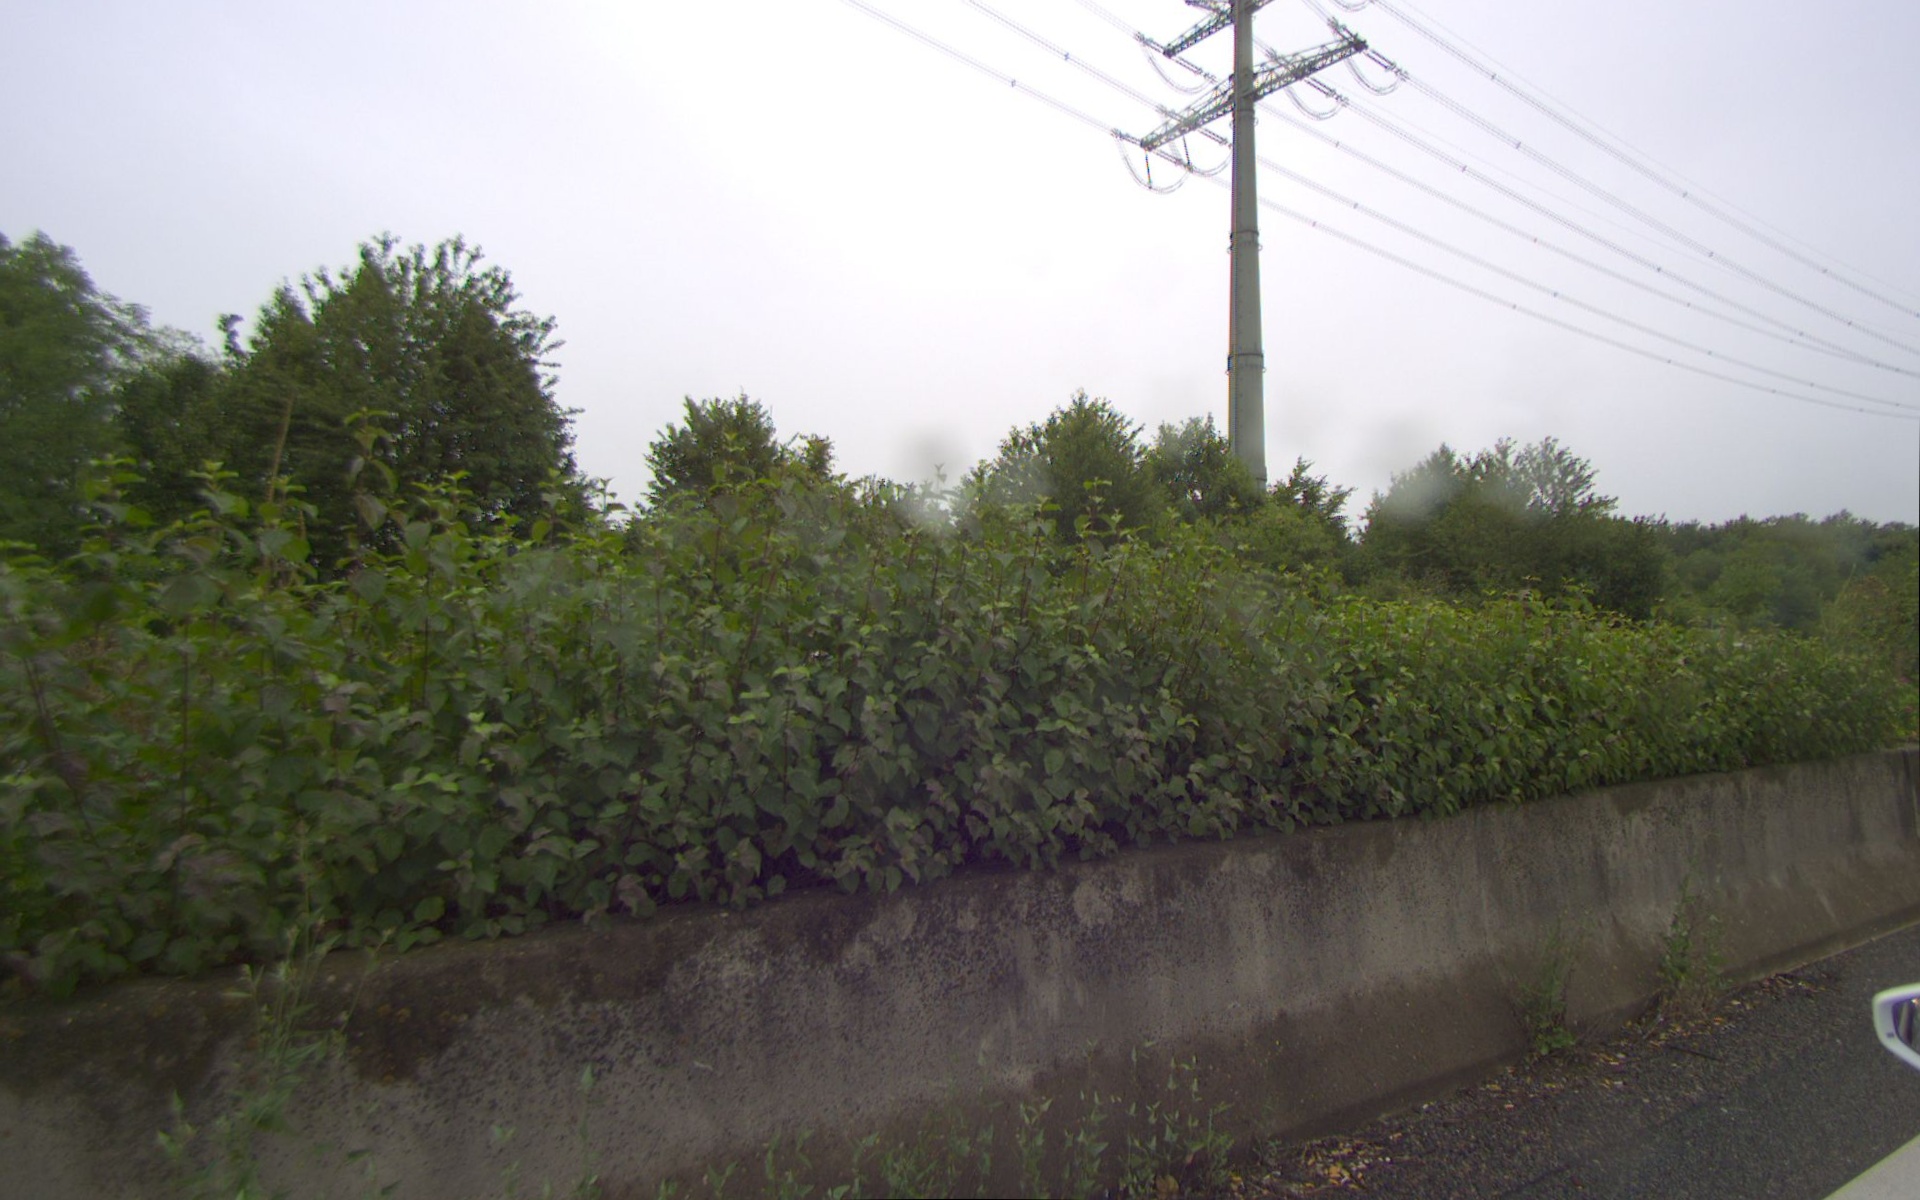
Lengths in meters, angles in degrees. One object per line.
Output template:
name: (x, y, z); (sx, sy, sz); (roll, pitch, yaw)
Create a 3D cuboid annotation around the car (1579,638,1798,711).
car: (13.923, 1.357, 19.182); (3.953, 1.207, 1.984); (1, -1, -30)
